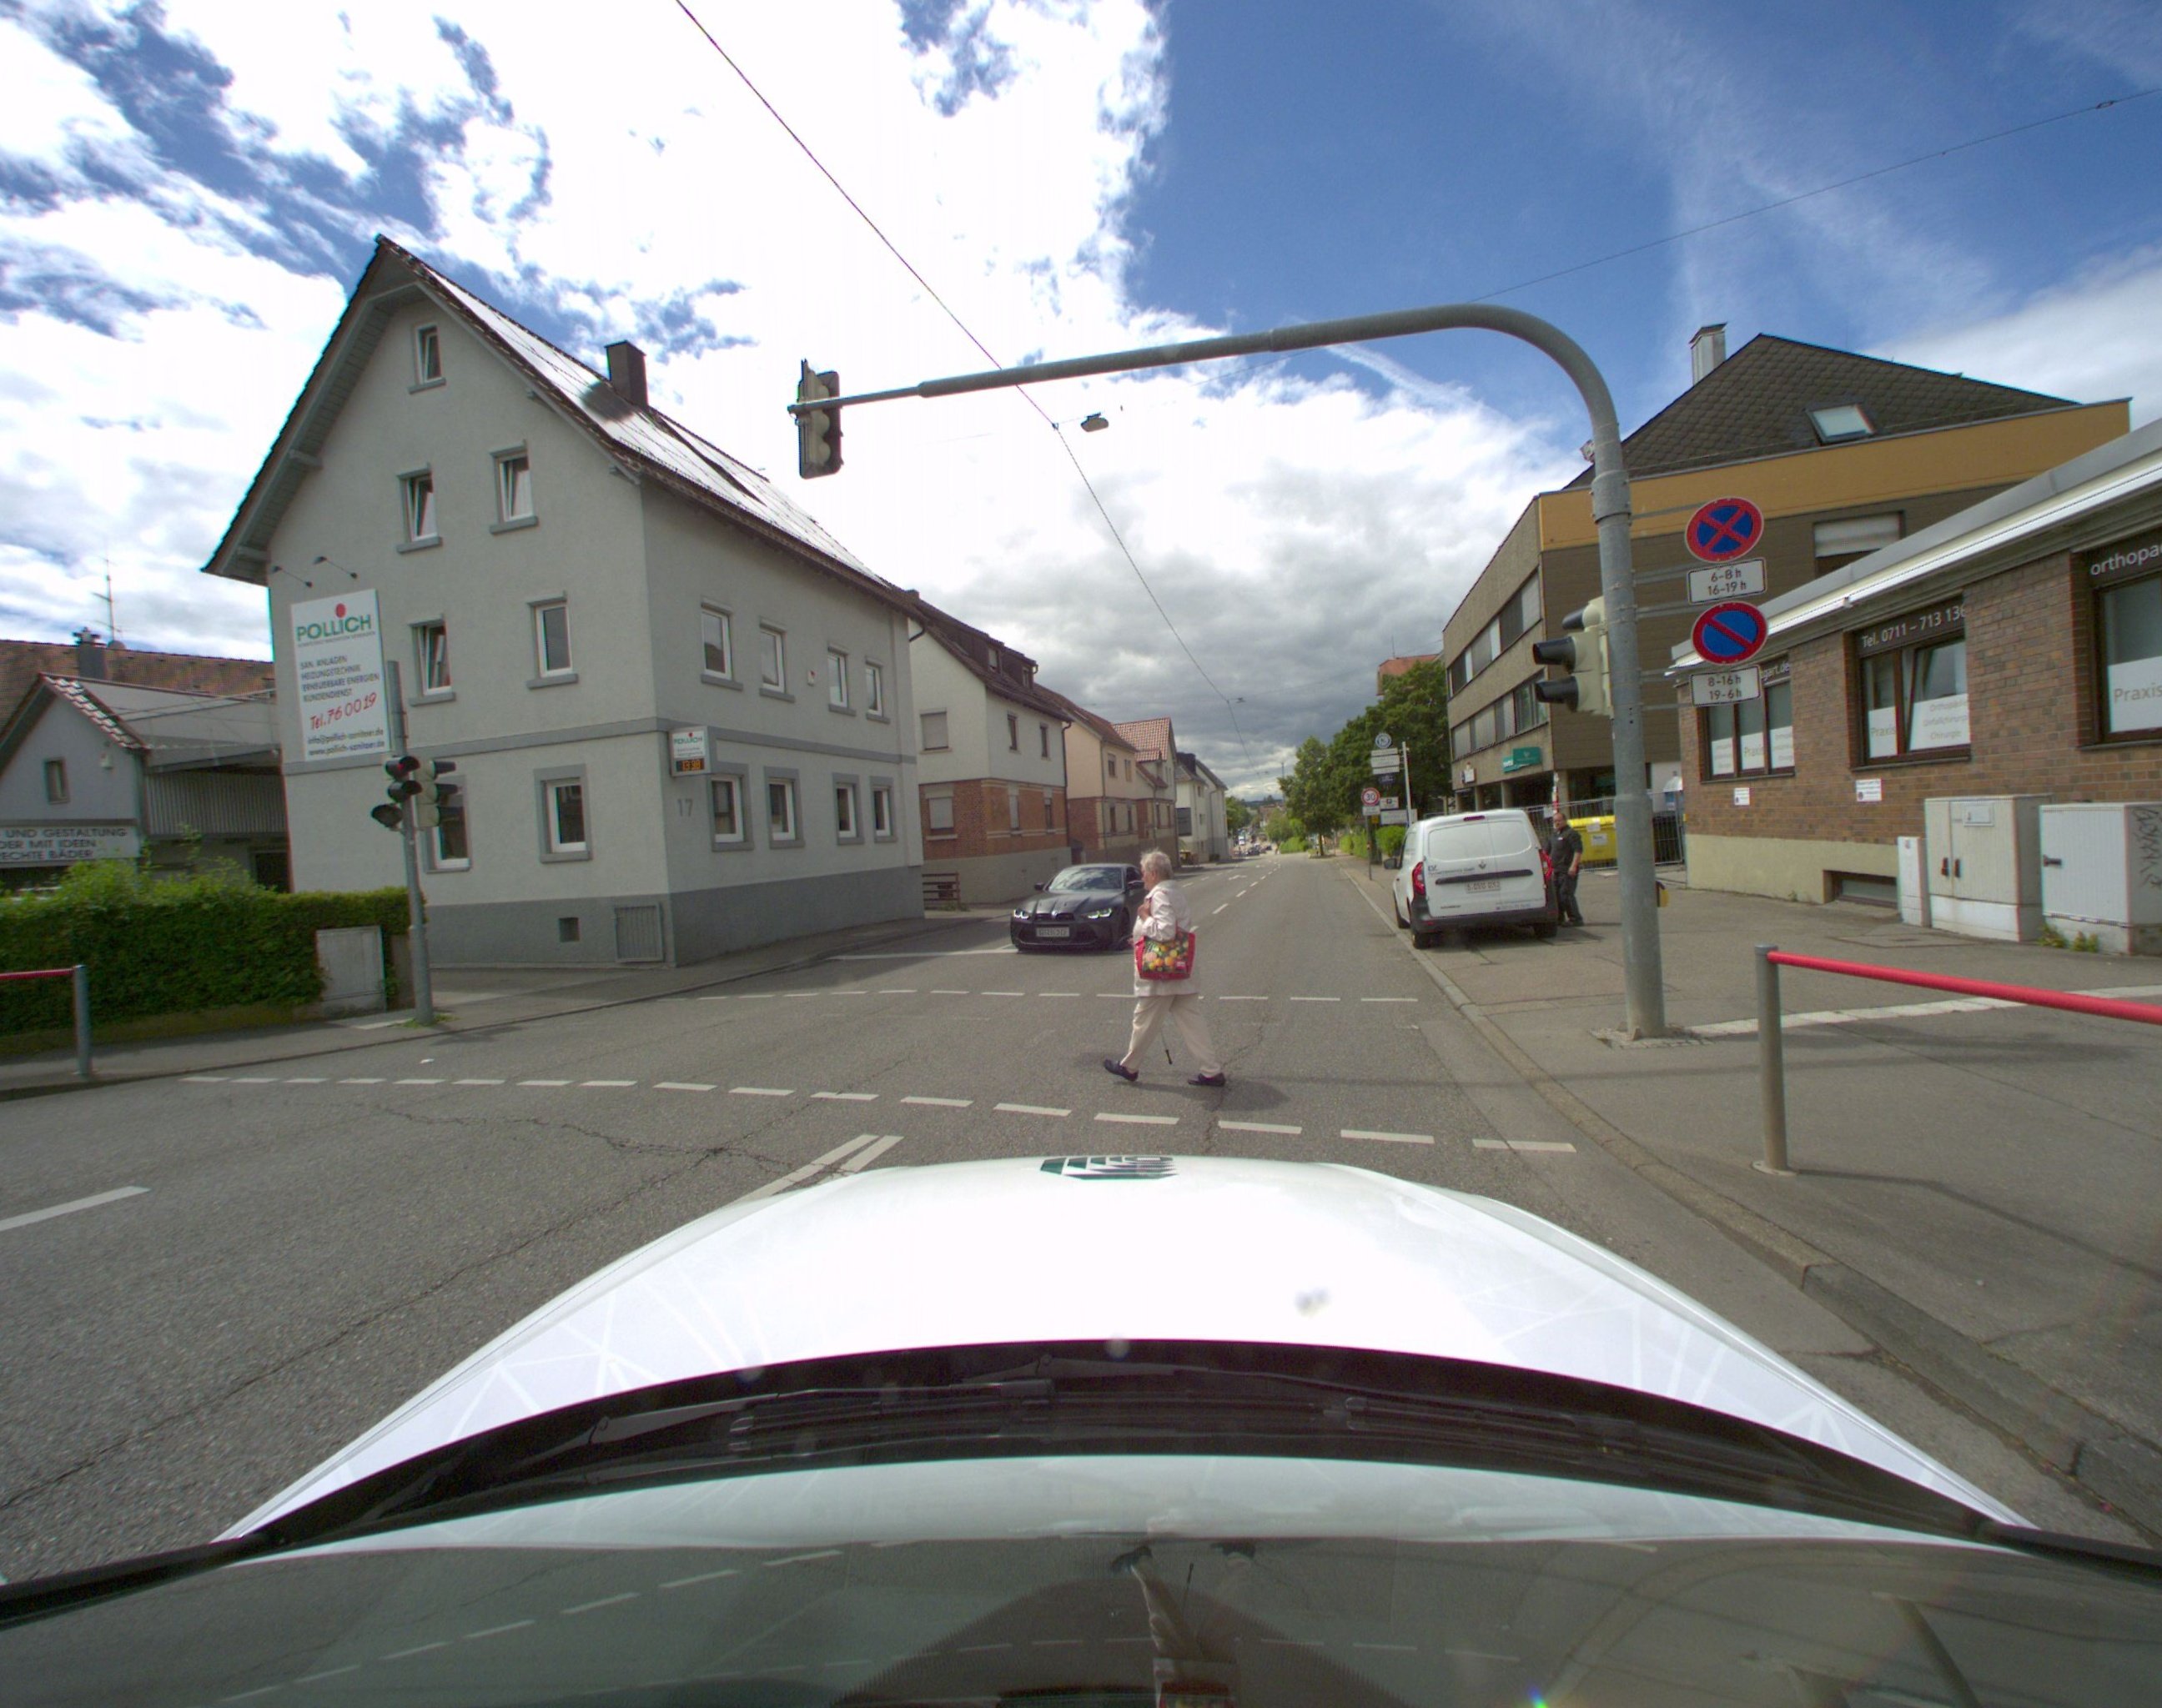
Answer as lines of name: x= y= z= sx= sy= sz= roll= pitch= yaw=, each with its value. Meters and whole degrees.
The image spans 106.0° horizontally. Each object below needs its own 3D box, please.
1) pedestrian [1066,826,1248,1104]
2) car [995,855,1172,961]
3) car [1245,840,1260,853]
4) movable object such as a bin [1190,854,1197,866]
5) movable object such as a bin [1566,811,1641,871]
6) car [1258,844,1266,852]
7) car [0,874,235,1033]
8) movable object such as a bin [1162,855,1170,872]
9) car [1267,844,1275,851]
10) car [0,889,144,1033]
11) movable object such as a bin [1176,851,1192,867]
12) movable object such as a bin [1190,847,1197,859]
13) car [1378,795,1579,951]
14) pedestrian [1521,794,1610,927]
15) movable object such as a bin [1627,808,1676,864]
pedestrian: x=0.522 y=0.663 z=5.369 sx=0.862 sy=1.637 sz=0.842 roll=-3 pitch=0 yaw=27
car: x=0.256 y=0.859 z=14.941 sx=1.978 sy=1.457 sz=4.637 roll=-5 pitch=0 yaw=15
car: x=28.603 y=-1.186 z=136.223 sx=1.983 sy=2.013 sz=4.008 roll=-3 pitch=0 yaw=7
movable object such as a bin: x=10.089 y=0.529 z=73.064 sx=0.528 sy=1.030 sz=0.457 roll=-4 pitch=0 yaw=14
movable object such as a bin: x=14.359 y=-0.374 z=22.431 sx=1.470 sy=1.492 sz=1.081 roll=-4 pitch=2 yaw=19
car: x=49.173 y=-1.530 z=221.426 sx=1.980 sy=2.013 sz=4.013 roll=-4 pitch=-1 yaw=12
car: x=-14.762 y=1.394 z=11.032 sx=1.978 sy=1.947 sz=4.018 roll=-5 pitch=0 yaw=17
movable object such as a bin: x=5.872 y=0.633 z=56.323 sx=0.428 sy=1.128 sz=0.300 roll=-4 pitch=0 yaw=14
car: x=55.020 y=-1.843 z=236.022 sx=1.980 sy=2.013 sz=4.013 roll=-4 pitch=-1 yaw=12
car: x=-17.032 y=1.696 z=11.769 sx=1.978 sy=2.013 sz=4.019 roll=-4 pitch=0 yaw=17
movable object such as a bin: x=9.123 y=0.459 z=72.222 sx=1.273 sy=1.310 sz=0.819 roll=-4 pitch=0 yaw=10
movable object such as a bin: x=10.110 y=-0.068 z=73.437 sx=0.528 sy=1.030 sz=0.457 roll=-4 pitch=0 yaw=14
car: x=5.845 y=0.245 z=12.607 sx=1.896 sy=1.794 sz=4.510 roll=-7 pitch=-2 yaw=16
pedestrian: x=6.982 y=0.090 z=11.776 sx=0.836 sy=1.803 sz=0.653 roll=-5 pitch=-1 yaw=15
movable object such as a bin: x=15.496 y=-0.493 z=22.143 sx=0.773 sy=1.439 sz=1.023 roll=-4 pitch=2 yaw=19
